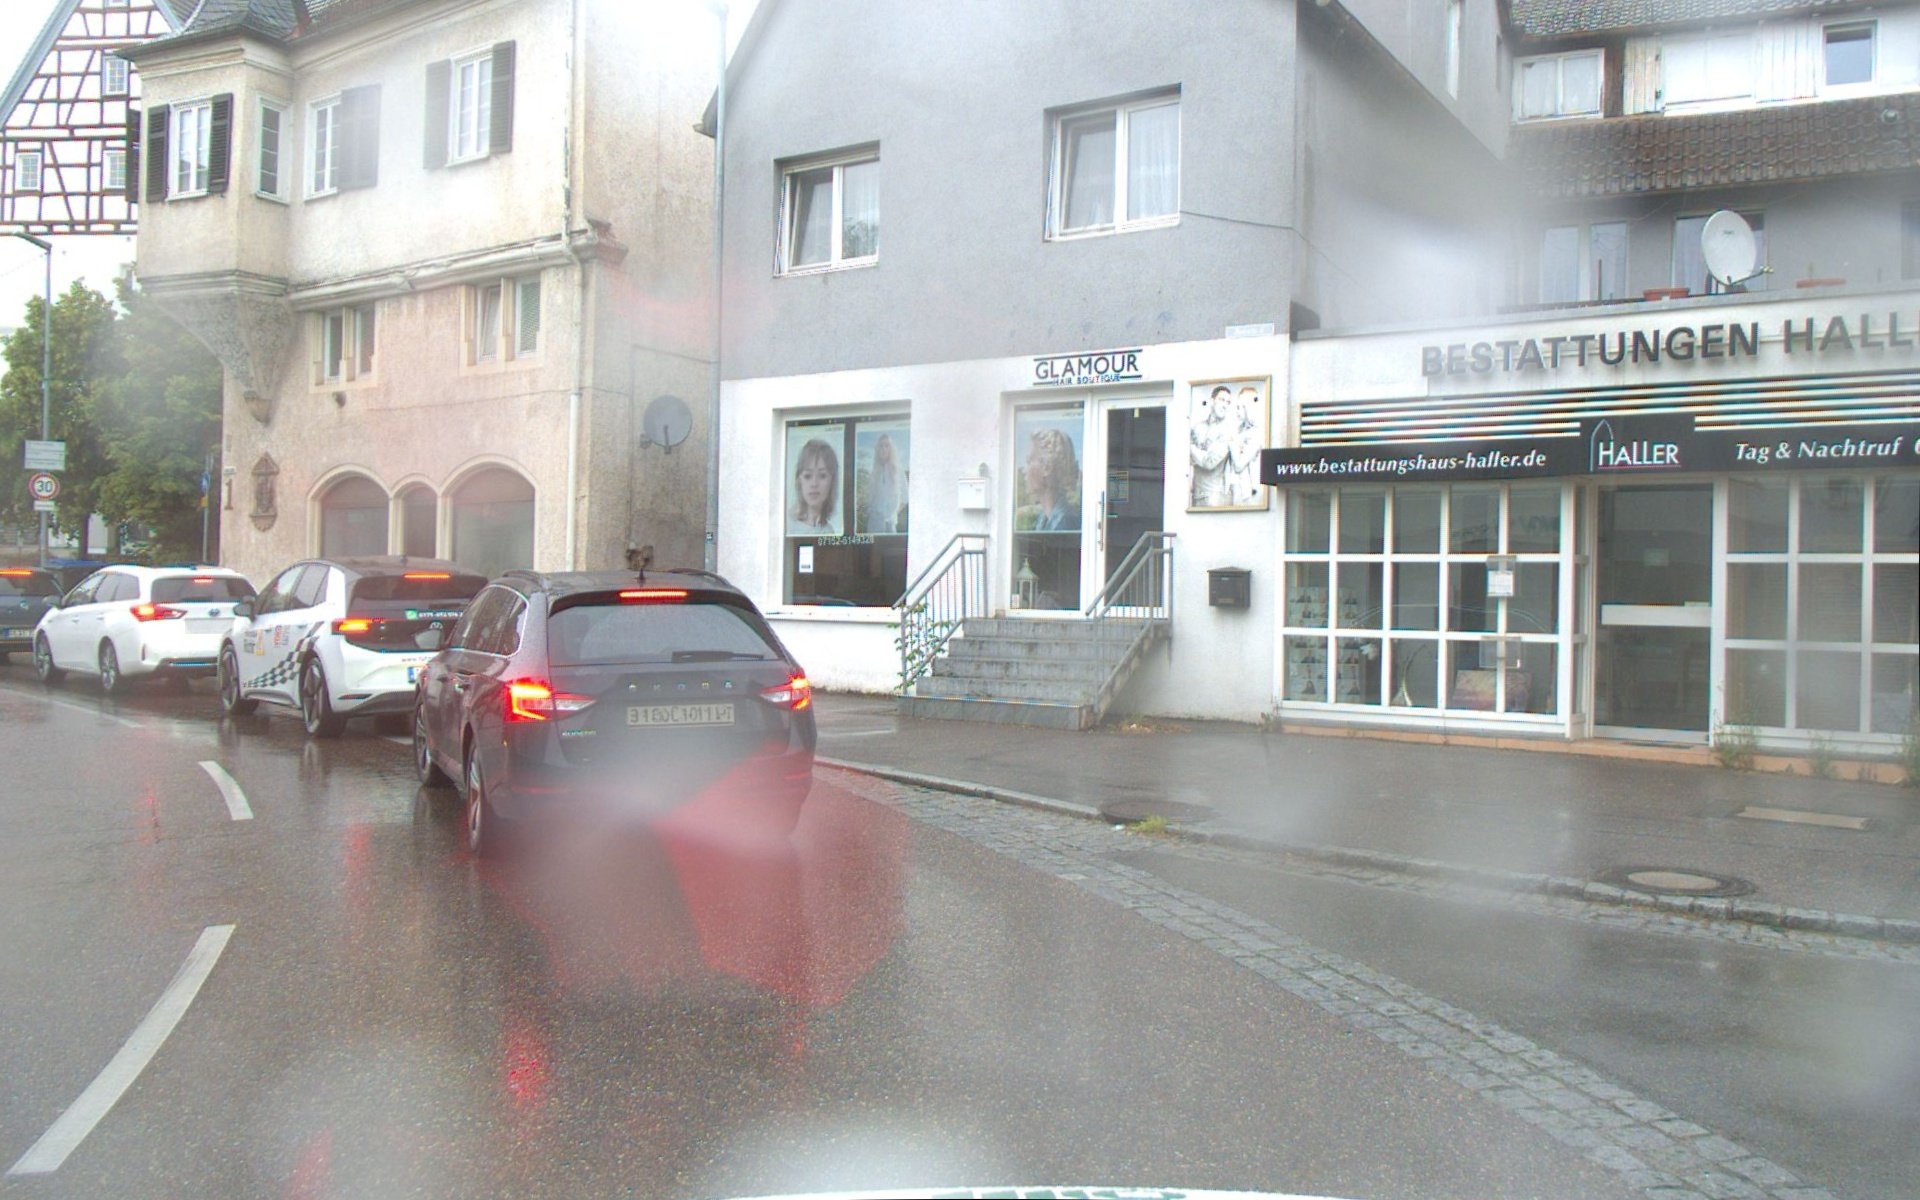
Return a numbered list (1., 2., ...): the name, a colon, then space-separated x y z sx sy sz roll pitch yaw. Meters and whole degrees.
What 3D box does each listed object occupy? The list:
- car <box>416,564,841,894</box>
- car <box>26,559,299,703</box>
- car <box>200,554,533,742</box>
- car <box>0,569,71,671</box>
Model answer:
1. car: -2.196 0.552 9.938 1.709 1.475 4.212 0 2 -23
2. car: -9.760 0.286 20.097 1.778 1.490 4.096 -1 3 -45
3. car: -5.782 0.354 15.818 1.777 1.543 4.183 -1 1 -38
4. car: -14.907 0.253 24.930 3.701 1.385 1.514 2 3 42
